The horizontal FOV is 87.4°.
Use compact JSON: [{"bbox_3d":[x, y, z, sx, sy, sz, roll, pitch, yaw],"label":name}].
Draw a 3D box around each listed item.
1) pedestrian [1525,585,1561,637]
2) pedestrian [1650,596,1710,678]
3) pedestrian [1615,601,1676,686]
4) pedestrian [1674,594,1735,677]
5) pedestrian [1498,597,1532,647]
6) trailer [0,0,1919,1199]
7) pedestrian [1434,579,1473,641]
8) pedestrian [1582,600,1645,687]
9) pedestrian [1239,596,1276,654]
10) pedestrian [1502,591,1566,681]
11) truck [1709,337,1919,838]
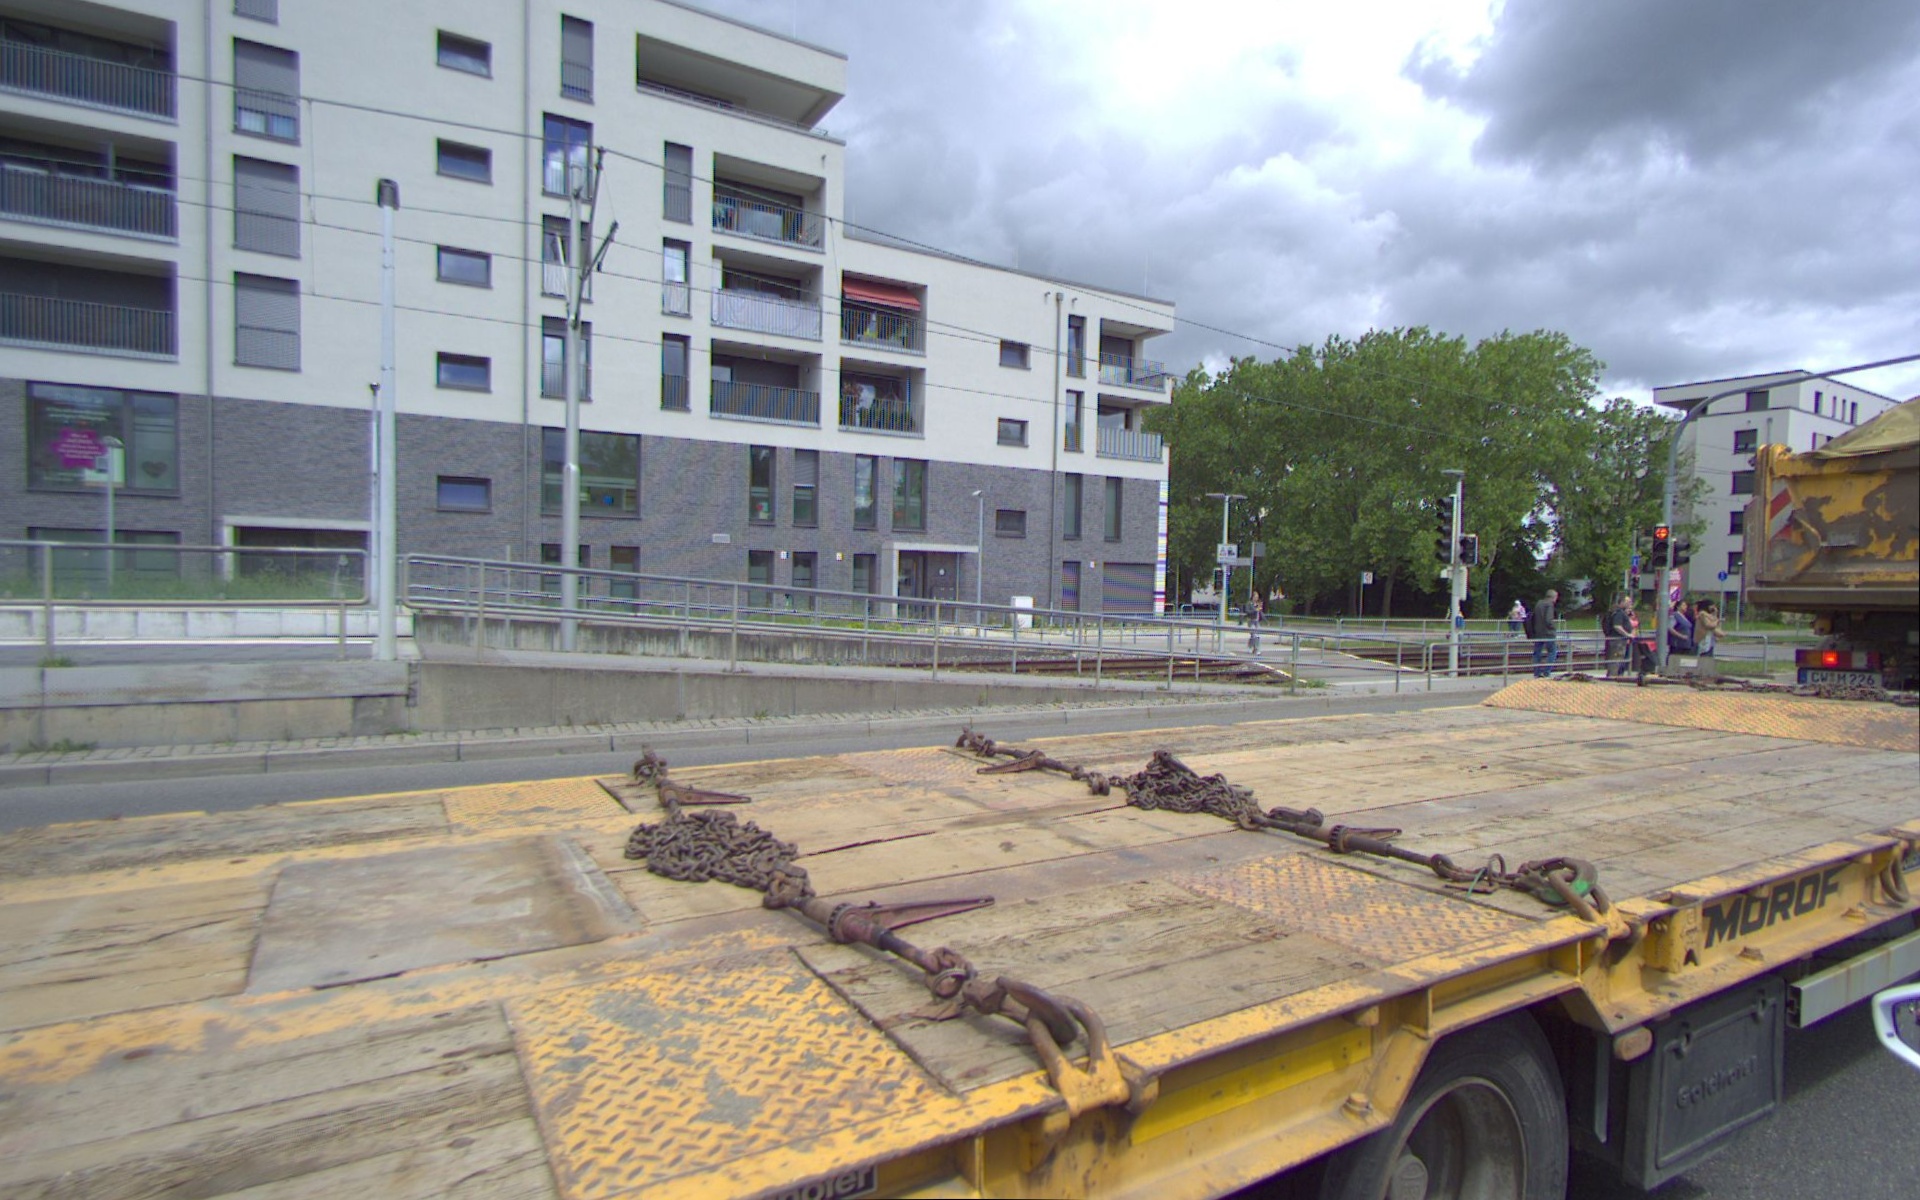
[{"bbox_3d":[24.918,0.459,42.938,0.924,2.162,0.910,0,2,-30],"label":"pedestrian"},{"bbox_3d":[14.777,0.749,20.617,0.813,1.624,0.678,0,2,-31],"label":"pedestrian"},{"bbox_3d":[13.595,0.837,19.926,0.813,1.624,0.678,0,2,-31],"label":"pedestrian"},{"bbox_3d":[15.745,0.733,21.247,0.932,1.692,0.825,0,2,-42],"label":"pedestrian"},{"bbox_3d":[24.374,0.956,44.090,0.924,2.162,0.910,0,2,-30],"label":"pedestrian"},{"bbox_3d":[1.773,-0.428,3.651,11.122,3.607,2.715,1,2,-31],"label":"trailer"},{"bbox_3d":[18.370,0.359,37.373,0.872,2.234,0.910,0,2,-30],"label":"pedestrian"},{"bbox_3d":[12.575,0.823,19.339,0.813,1.624,0.678,0,2,-31],"label":"pedestrian"},{"bbox_3d":[7.865,0.656,26.586,0.782,1.499,0.530,1,2,2],"label":"pedestrian"},{"bbox_3d":[11.236,0.684,19.668,0.675,1.691,0.816,1,2,-29],"label":"pedestrian"},{"bbox_3d":[10.065,-0.034,8.682,8.255,3.358,2.739,1,2,-31],"label":"truck"}]
